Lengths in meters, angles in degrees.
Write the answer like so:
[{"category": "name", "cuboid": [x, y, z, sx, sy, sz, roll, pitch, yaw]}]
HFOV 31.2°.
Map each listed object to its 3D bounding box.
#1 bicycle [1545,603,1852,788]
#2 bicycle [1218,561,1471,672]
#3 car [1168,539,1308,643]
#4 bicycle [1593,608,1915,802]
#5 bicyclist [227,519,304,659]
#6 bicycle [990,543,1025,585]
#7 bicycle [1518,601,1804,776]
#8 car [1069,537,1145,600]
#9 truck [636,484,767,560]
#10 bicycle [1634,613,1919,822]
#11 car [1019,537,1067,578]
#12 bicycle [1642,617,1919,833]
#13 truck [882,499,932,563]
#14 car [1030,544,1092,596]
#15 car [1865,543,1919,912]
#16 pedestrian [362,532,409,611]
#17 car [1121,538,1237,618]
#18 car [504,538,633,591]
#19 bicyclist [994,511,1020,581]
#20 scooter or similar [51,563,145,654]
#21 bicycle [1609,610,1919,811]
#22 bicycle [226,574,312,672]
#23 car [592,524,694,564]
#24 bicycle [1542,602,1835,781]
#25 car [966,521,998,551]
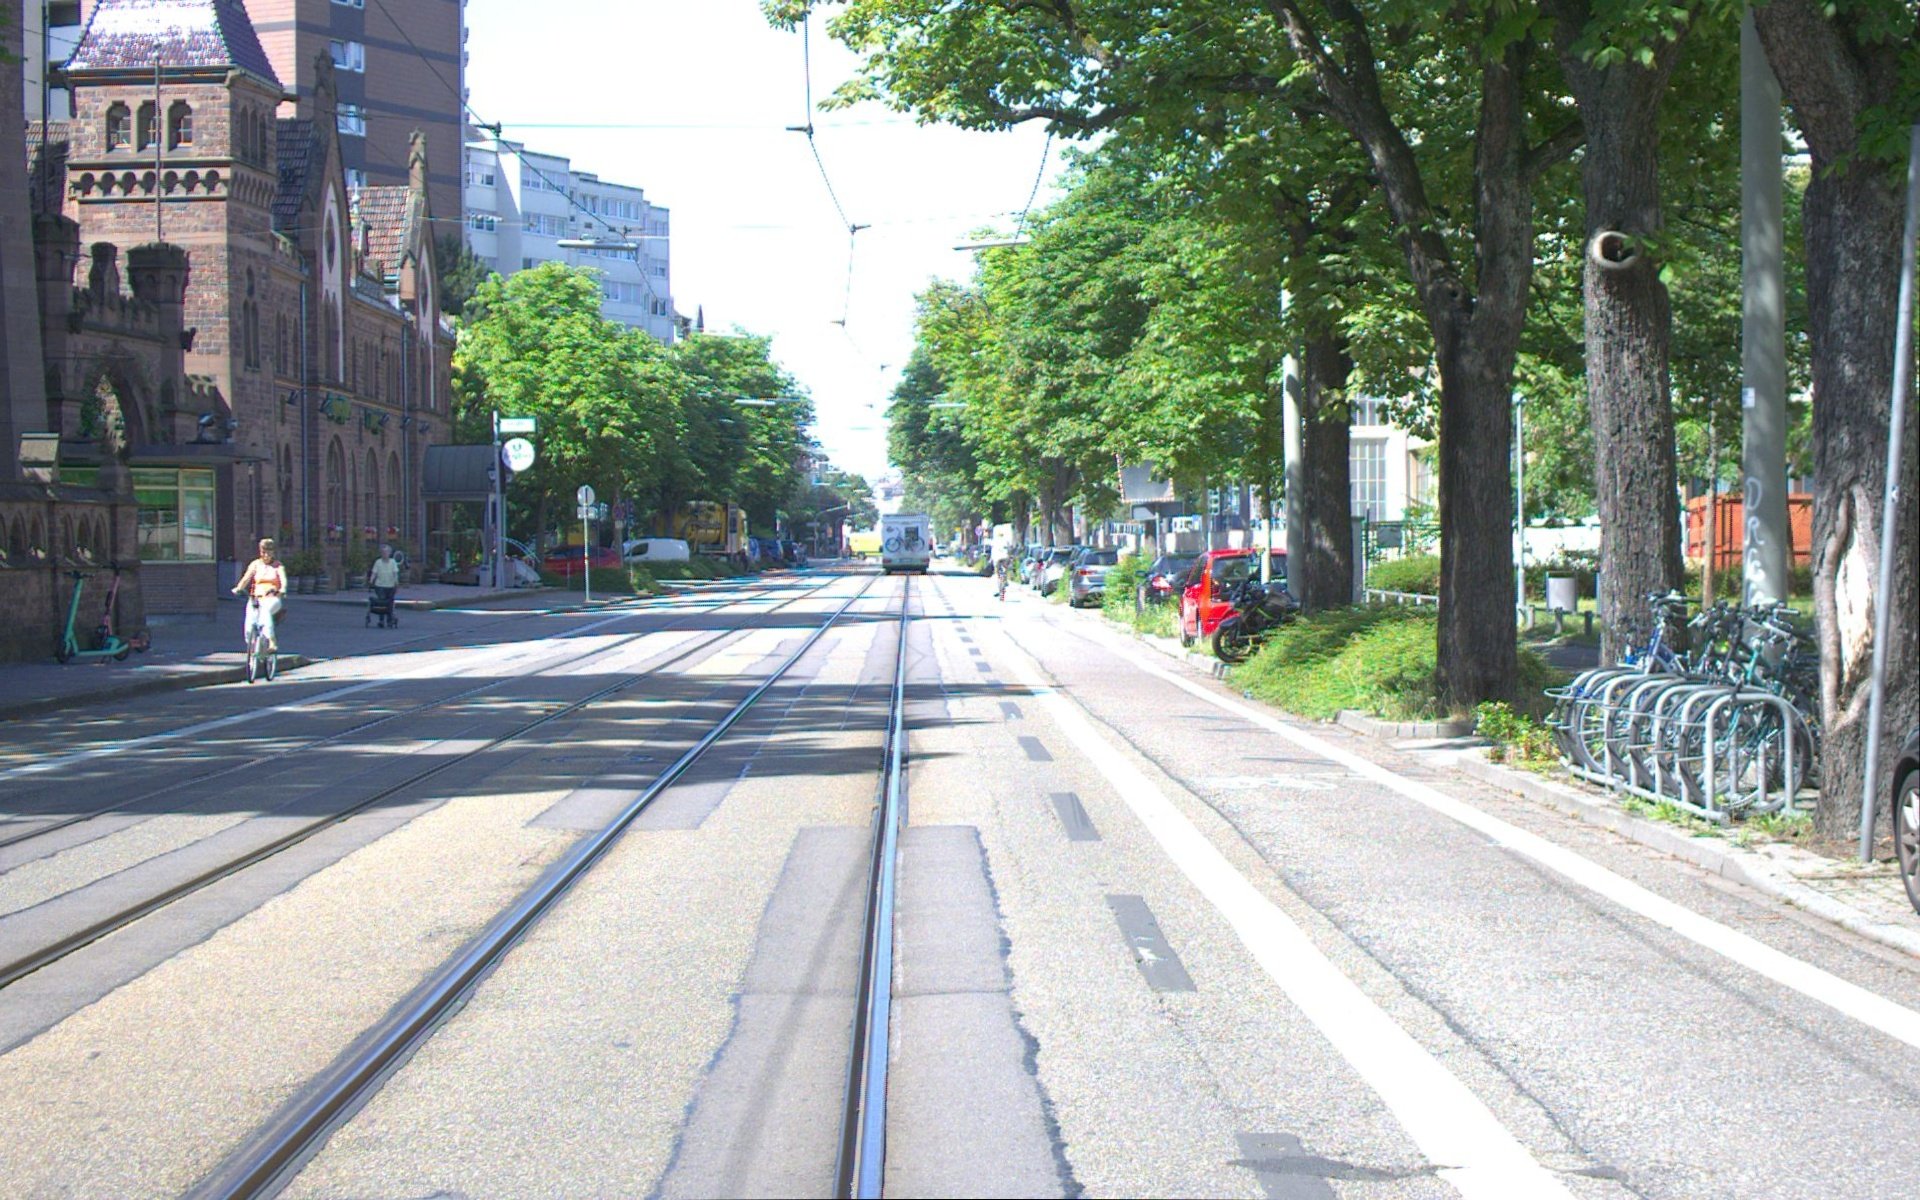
[{"category": "bicycle", "cuboid": [4.485, 0.574, 20.939, 1.724, 1.082, 0.615, 0, 1, -1]}, {"category": "bicycle", "cuboid": [4.699, 0.195, 42.237, 3.028, 1.327, 1.041, 0, 1, 3]}, {"category": "car", "cuboid": [4.116, -0.158, 51.357, 1.629, 1.467, 3.720, -1, 1, -3]}, {"category": "bicycle", "cuboid": [4.584, 0.600, 19.903, 1.724, 1.082, 0.589, 0, 1, -1]}, {"category": "bicyclist", "cuboid": [-8.520, -0.140, 42.187, 0.725, 1.692, 1.147, 0, 1, -1]}, {"category": "bicycle", "cuboid": [1.273, -0.967, 92.262, 0.855, 1.106, 2.140, -1, 1, -1]}, {"category": "bicycle", "cuboid": [4.476, 0.562, 21.992, 1.724, 1.082, 0.478, 0, 1, -1]}, {"category": "car", "cuboid": [3.520, -0.779, 82.892, 1.630, 1.467, 4.114, 0, 1, 0]}, {"category": "truck", "cuboid": [-13.475, -4.083, 180.552, 2.816, 3.846, 9.990, 0, 1, 21]}, {"category": "bicycle", "cuboid": [4.598, 0.627, 18.662, 1.724, 1.082, 0.697, 0, 1, -1]}, {"category": "car", "cuboid": [3.039, -1.566, 126.397, 1.630, 1.467, 4.114, 0, 1, 0]}, {"category": "bicycle", "cuboid": [4.502, 0.645, 18.003, 1.724, 1.082, 0.629, 0, 1, -1]}, {"category": "truck", "cuboid": [-2.593, -3.384, 168.632, 2.402, 3.098, 6.038, 0, 1, -1]}, {"category": "car", "cuboid": [2.944, -0.898, 100.782, 1.630, 1.467, 4.114, 0, 1, 0]}, {"category": "car", "cuboid": [4.742, 0.536, 12.372, 1.629, 1.478, 4.274, -1, 1, -3]}, {"category": "pedestrian", "cuboid": [-11.083, -0.558, 66.317, 0.883, 1.507, 1.476, 0, 1, -9]}, {"category": "car", "cuboid": [3.871, -0.421, 61.210, 1.629, 1.350, 3.902, -1, 1, -3]}, {"category": "car", "cuboid": [-13.501, -1.244, 118.636, 3.988, 1.804, 1.889, -1, 1, -37]}, {"category": "bicyclist", "cuboid": [1.261, -1.455, 92.357, 0.636, 1.865, 1.024, 0, 1, -1]}, {"category": "scooter or similar", "cuboid": [-10.902, 0.104, 43.498, 0.333, 1.125, 1.184, 0, 1, 39]}, {"category": "bicycle", "cuboid": [4.563, 0.612, 19.292, 1.724, 1.082, 0.570, 0, 1, -1]}, {"category": "bicycle", "cuboid": [-8.504, 0.270, 42.358, 0.662, 1.150, 2.014, 0, 1, 0]}, {"category": "car", "cuboid": [-13.990, -2.495, 151.758, 3.987, 1.744, 2.000, -1, 1, -31]}, {"category": "bicycle", "cuboid": [4.549, 0.567, 21.508, 1.724, 1.082, 0.478, 0, 1, -1]}, {"category": "car", "cuboid": [1.197, -3.499, 187.698, 1.630, 1.563, 4.114, 0, 1, 0]}]
